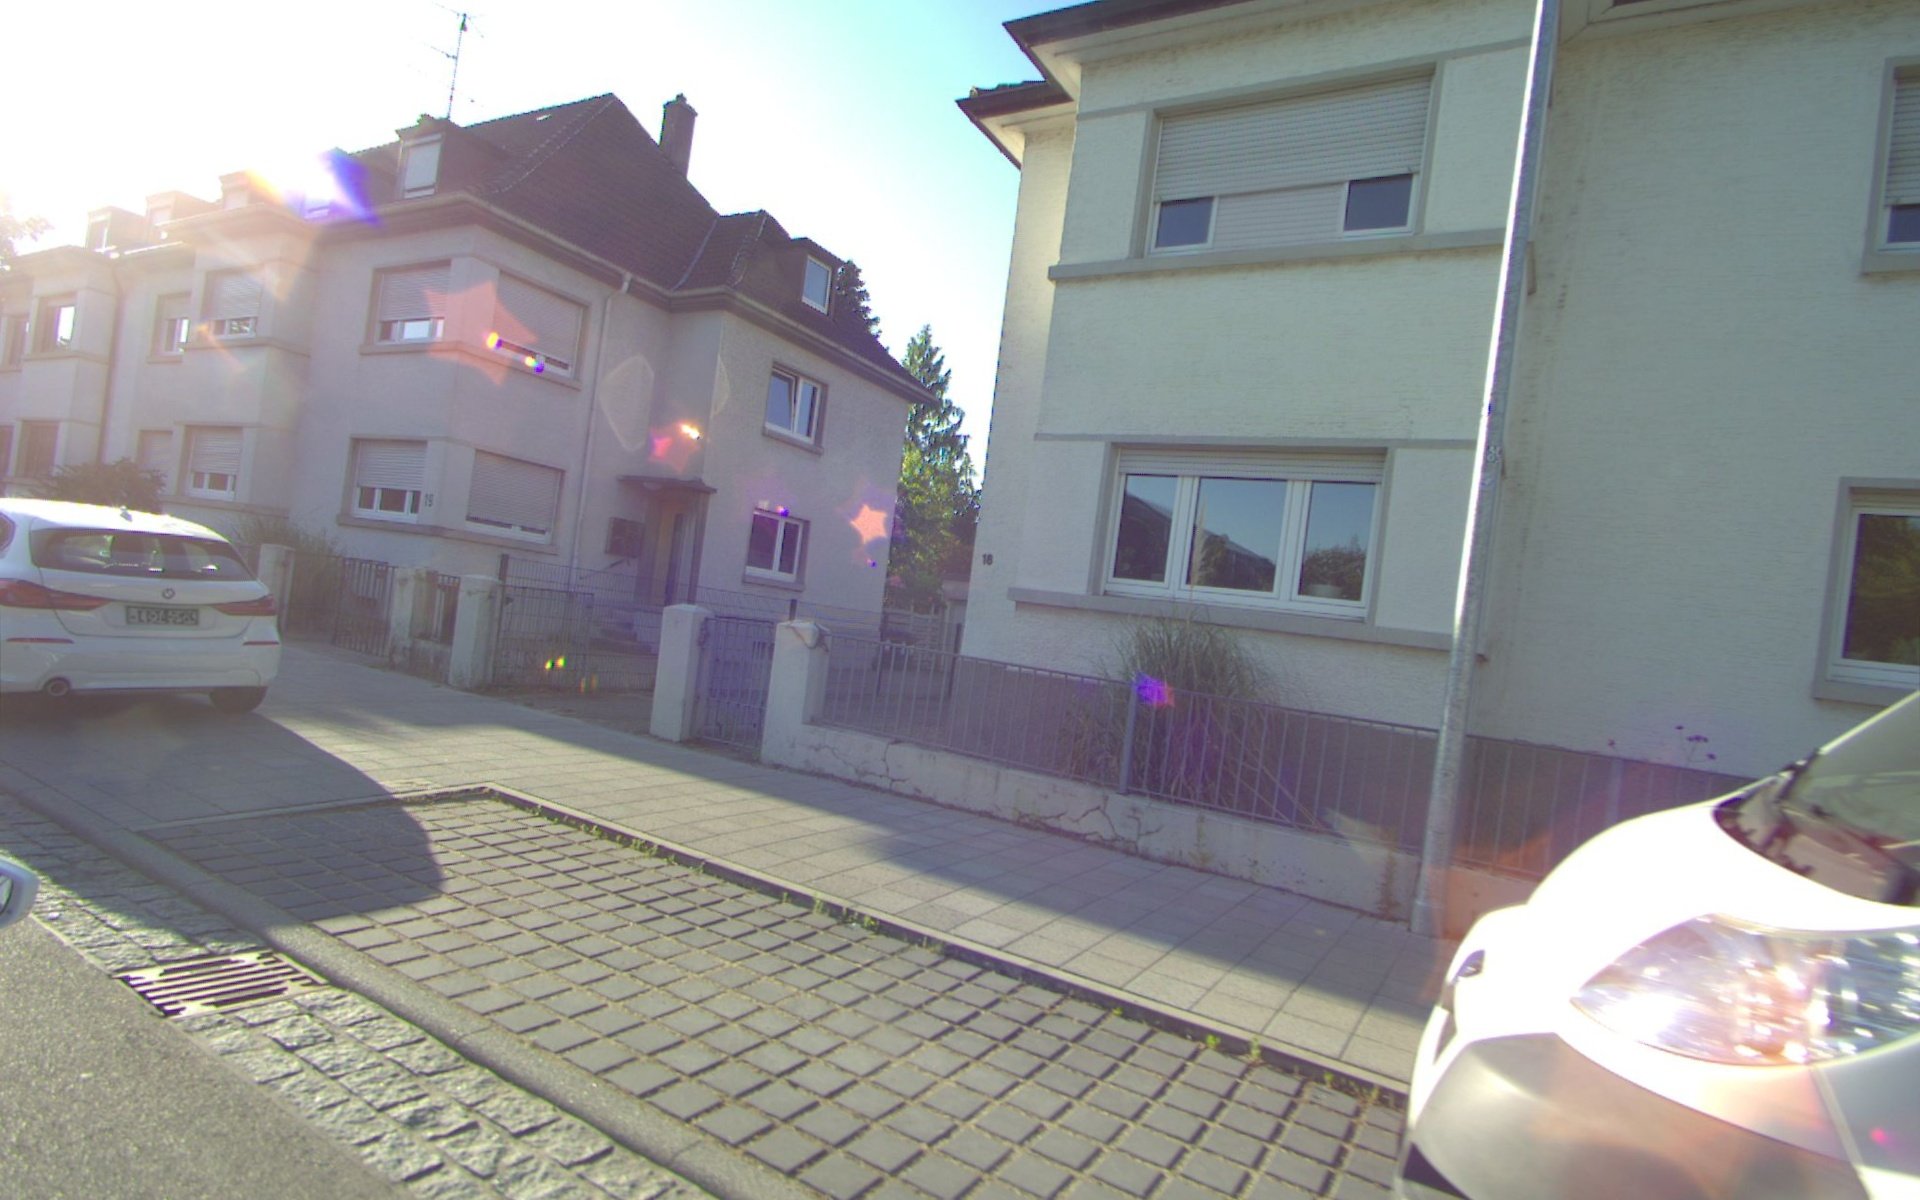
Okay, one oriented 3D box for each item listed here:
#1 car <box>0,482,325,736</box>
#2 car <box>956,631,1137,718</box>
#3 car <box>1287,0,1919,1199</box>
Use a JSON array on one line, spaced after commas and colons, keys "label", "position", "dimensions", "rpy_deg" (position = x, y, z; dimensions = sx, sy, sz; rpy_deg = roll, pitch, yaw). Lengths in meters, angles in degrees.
[{"label": "car", "position": [-7.093, -0.091, 7.882], "dimensions": [4.162, 1.526, 1.785], "rpy_deg": [7, 0, 31]}, {"label": "car", "position": [1.765, 1.478, 19.349], "dimensions": [1.639, 1.305, 3.825], "rpy_deg": [6, -2, 36]}, {"label": "car", "position": [3.459, 0.707, 1.222], "dimensions": [5.414, 2.546, 2.135], "rpy_deg": [7, -2, 30]}]
